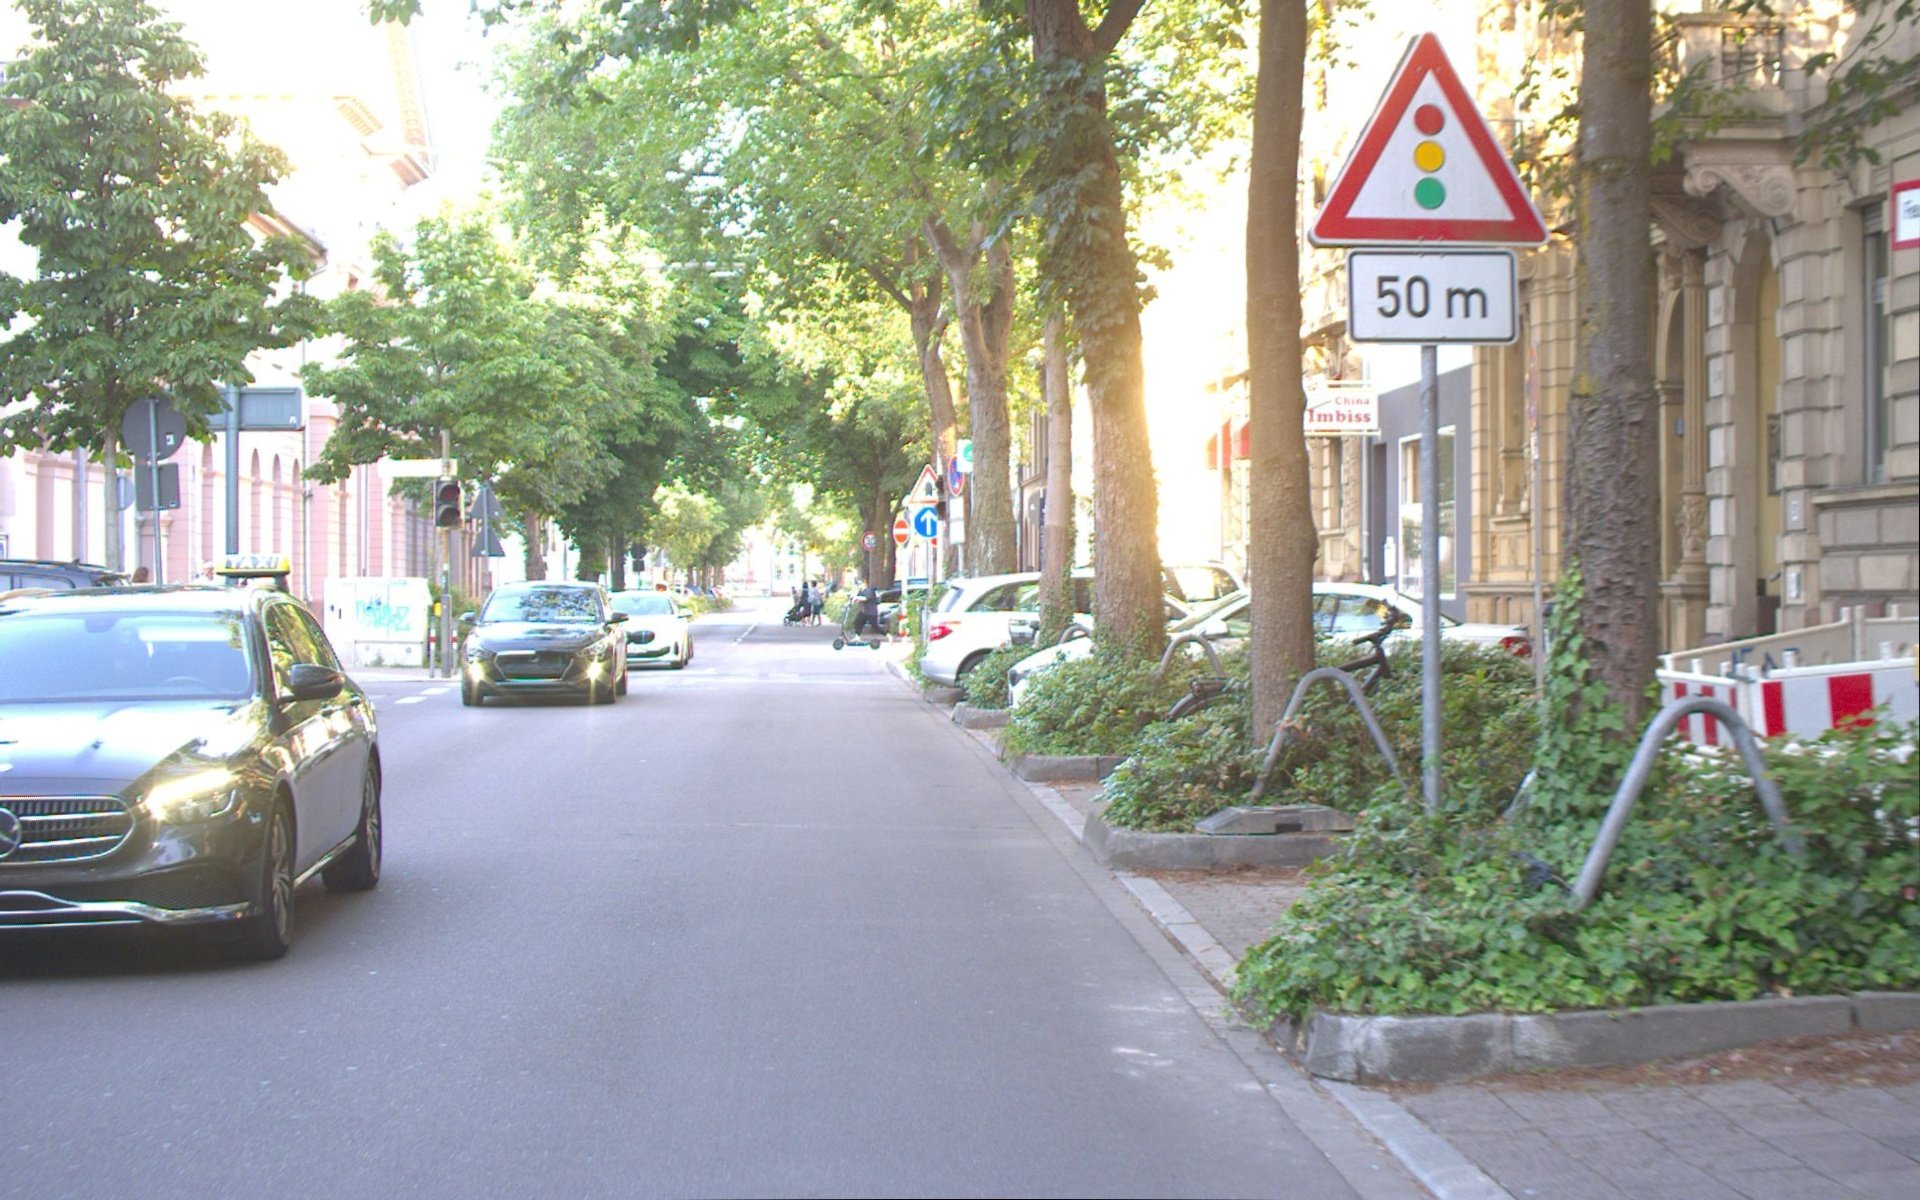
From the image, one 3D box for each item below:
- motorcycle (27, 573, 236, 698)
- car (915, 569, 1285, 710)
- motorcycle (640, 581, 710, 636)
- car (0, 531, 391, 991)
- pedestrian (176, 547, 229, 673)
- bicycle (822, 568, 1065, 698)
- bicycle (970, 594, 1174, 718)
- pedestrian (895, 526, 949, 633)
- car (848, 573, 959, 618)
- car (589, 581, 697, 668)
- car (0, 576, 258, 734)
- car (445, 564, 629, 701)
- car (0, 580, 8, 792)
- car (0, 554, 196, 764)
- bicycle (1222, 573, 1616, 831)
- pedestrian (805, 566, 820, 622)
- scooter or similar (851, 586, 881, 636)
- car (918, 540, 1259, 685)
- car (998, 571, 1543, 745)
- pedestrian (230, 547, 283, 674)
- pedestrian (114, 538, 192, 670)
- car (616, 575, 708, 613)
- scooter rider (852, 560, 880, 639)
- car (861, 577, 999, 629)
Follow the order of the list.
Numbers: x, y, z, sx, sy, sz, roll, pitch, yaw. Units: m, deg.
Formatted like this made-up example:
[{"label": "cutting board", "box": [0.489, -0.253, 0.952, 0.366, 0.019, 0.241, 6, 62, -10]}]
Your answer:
[{"label": "motorcycle", "box": [-9.501, 0.408, 39.440, 2.150, 1.414, 0.967, -1, 0, 19]}, {"label": "car", "box": [1.616, 0.447, 40.423, 4.224, 1.555, 1.971, -1, 1, 1]}, {"label": "motorcycle", "box": [-5.864, 0.169, 70.913, 1.312, 1.086, 2.396, 1, 0, -2]}, {"label": "car", "box": [-3.612, 0.567, 14.633, 1.876, 1.635, 4.647, -1, 0, -4]}, {"label": "pedestrian", "box": [-11.170, 0.148, 50.727, 0.554, 1.844, 0.611, 0, 0, 13]}, {"label": "bicycle", "box": [-0.224, 0.430, 45.051, 3.112, 1.657, 0.658, 1, 0, -7]}, {"label": "bicycle", "box": [1.164, 0.575, 35.737, 2.019, 1.200, 0.488, -2, 0, -15]}, {"label": "pedestrian", "box": [-0.774, -0.411, 69.809, 1.043, 2.139, 1.063, 1, -1, -2]}, {"label": "car", "box": [-2.098, -0.186, 127.599, 4.014, 1.617, 1.781, -1, 0, -3]}, {"label": "car", "box": [-5.891, 0.426, 64.315, 1.876, 1.544, 4.275, -1, 0, -4]}, {"label": "car", "box": [-9.024, 0.509, 34.206, 3.741, 1.453, 1.735, 2, 0, -3]}, {"label": "car", "box": [-5.073, 0.360, 41.733, 1.877, 1.544, 4.275, -1, 0, -3]}, {"label": "car", "box": [-8.500, 0.527, 22.423, 4.075, 1.435, 1.755, 2, 0, -1]}, {"label": "car", "box": [-8.457, 0.433, 27.880, 4.093, 1.626, 1.936, 1, 0, -1]}, {"label": "bicycle", "box": [2.510, 0.553, 18.873, 2.046, 1.356, 0.508, 1, 0, -4]}, {"label": "pedestrian", "box": [-5.411, -0.217, 126.036, 0.502, 2.007, 0.621, 1, -1, -1]}, {"label": "scooter or similar", "box": [-2.144, 0.250, 78.447, 0.502, 1.141, 1.249, 0, -1, 8]}, {"label": "car", "box": [1.753, 0.163, 48.045, 4.539, 1.908, 1.950, -1, 0, -5]}, {"label": "car", "box": [2.650, 0.483, 30.175, 4.583, 1.432, 1.925, 0, 1, 0]}, {"label": "pedestrian", "box": [-10.355, 0.150, 50.610, 0.554, 1.844, 0.611, 0, 0, 12]}, {"label": "pedestrian", "box": [-11.242, 0.054, 47.875, 0.768, 1.785, 0.793, 2, 1, -33]}, {"label": "car", "box": [-16.994, -0.353, 196.262, 5.064, 2.076, 2.263, -1, 0, -1]}, {"label": "scooter rider", "box": [-2.145, -0.016, 78.489, 0.494, 1.785, 0.874, 0, -1, 7]}, {"label": "car", "box": [-0.952, 0.092, 106.574, 4.192, 1.475, 1.852, -2, 0, -2]}]
